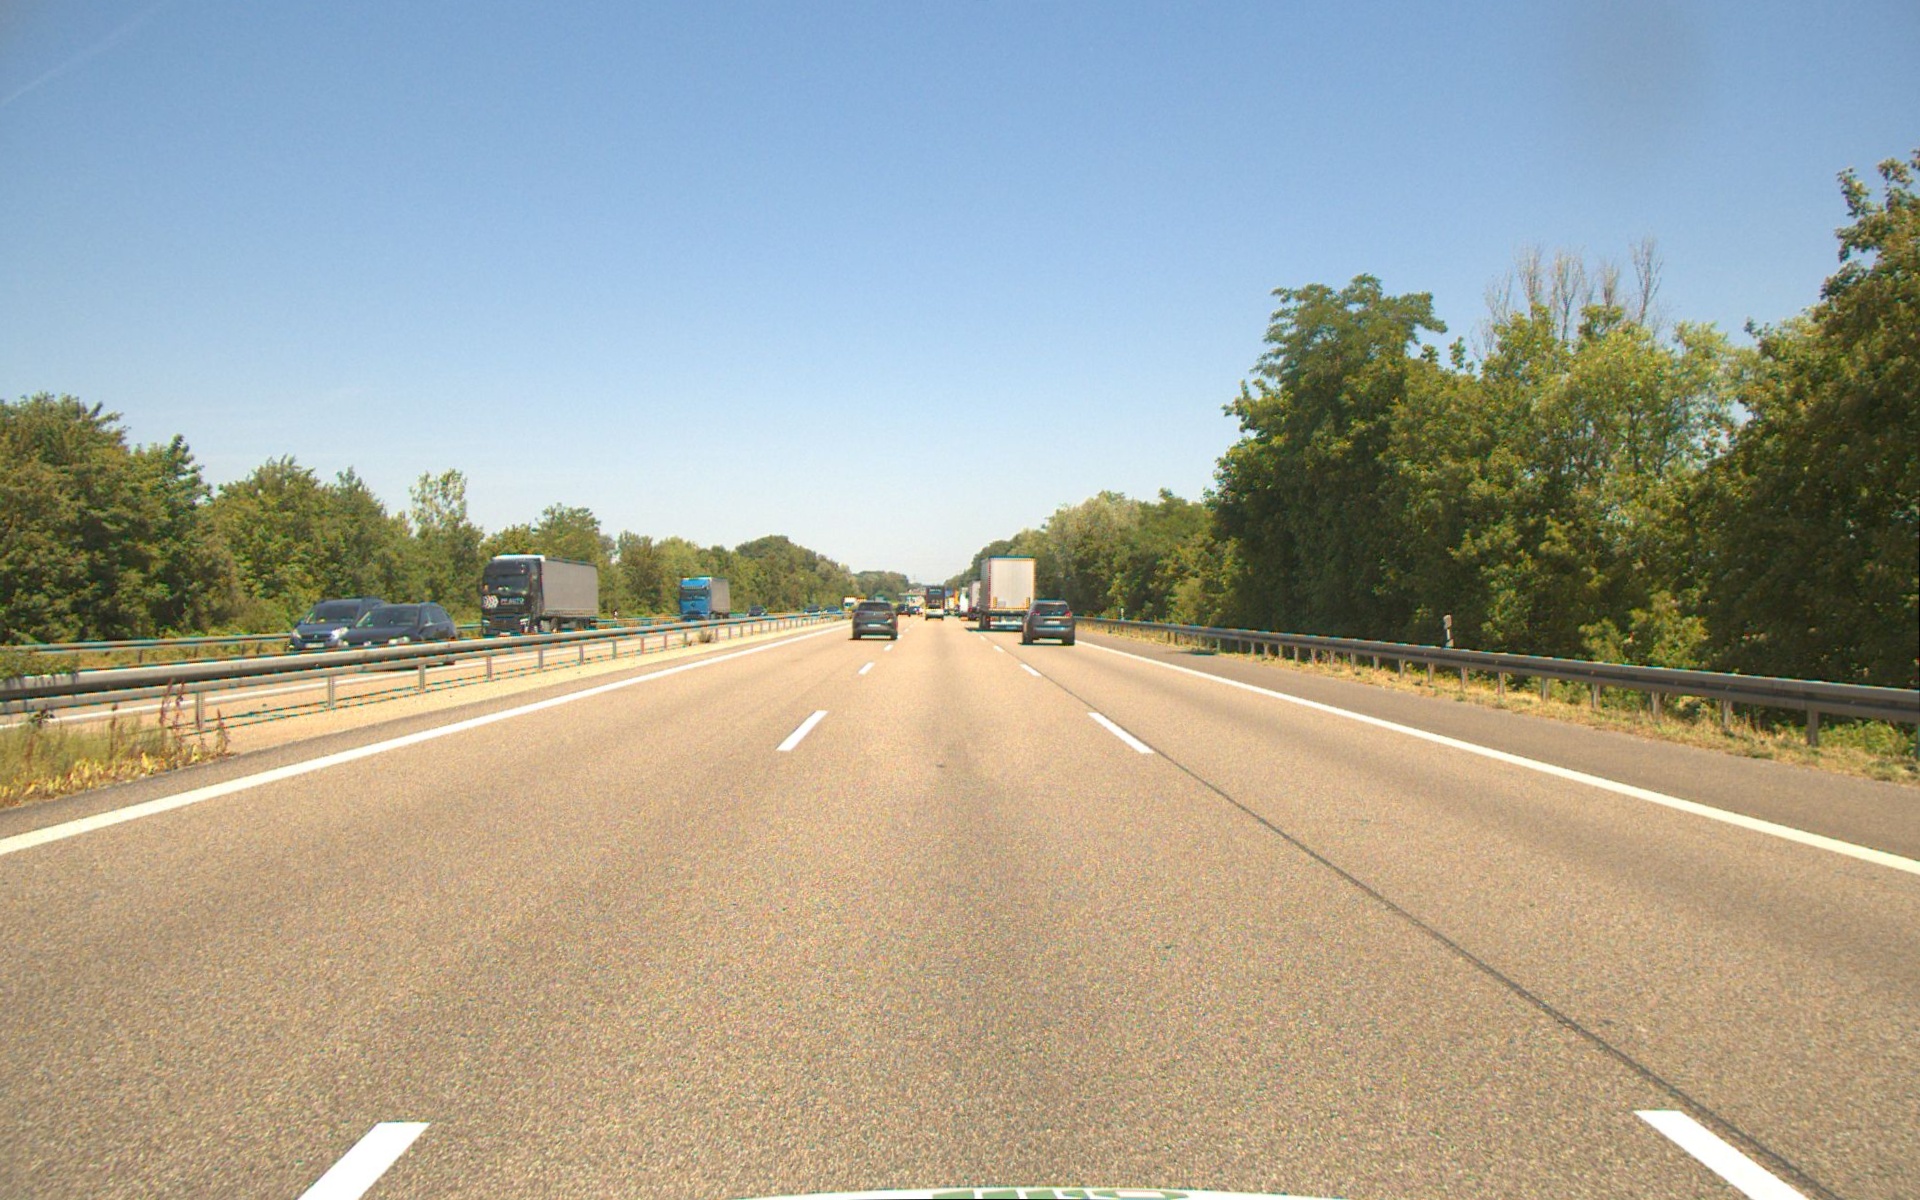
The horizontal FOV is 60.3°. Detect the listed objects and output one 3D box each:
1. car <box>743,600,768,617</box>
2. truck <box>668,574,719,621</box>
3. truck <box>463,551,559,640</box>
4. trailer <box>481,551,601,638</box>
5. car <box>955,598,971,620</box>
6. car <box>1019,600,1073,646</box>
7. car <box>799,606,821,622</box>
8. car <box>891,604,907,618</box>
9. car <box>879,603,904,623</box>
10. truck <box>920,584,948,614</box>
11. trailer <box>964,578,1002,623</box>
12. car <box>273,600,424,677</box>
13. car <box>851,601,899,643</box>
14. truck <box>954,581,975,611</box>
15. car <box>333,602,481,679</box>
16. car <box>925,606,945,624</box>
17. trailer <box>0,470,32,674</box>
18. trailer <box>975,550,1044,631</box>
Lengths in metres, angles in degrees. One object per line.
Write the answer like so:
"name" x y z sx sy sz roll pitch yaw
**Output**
"car" -19.311 0.797 156.098 1.812 1.488 4.312 3 0 -1
"truck" -23.351 -0.230 145.400 3.186 4.056 8.725 0 0 -1
"truck" -22.094 -0.239 81.726 3.133 4.201 6.192 0 0 -1
"trailer" -22.310 -0.320 89.037 3.281 4.259 13.537 -1 0 -2
"car" 0.332 1.031 195.052 1.869 2.467 4.285 1 0 -1
"car" 3.218 0.839 62.621 1.807 1.657 4.134 0 0 -1
"car" -15.226 1.411 168.371 1.813 1.488 5.167 -3 0 -2
"car" -7.798 1.396 211.067 1.869 1.557 4.285 1 1 -1
"car" -5.494 1.034 132.990 1.862 1.557 4.083 1 1 -1
"truck" -3.411 -0.179 220.054 3.592 3.791 7.108 1 0 0
"trailer" 2.072 0.004 155.432 3.059 3.995 9.933 1 0 -2
"car" -17.301 1.035 47.119 2.182 2.023 5.357 1 0 1
"car" -3.394 0.848 66.573 1.723 1.557 4.285 1 1 -1
"truck" 0.633 -0.530 219.061 2.735 3.791 7.108 1 0 0
"car" -12.617 0.882 38.071 1.716 1.509 4.726 -5 0 0
"car" -2.359 1.372 155.227 1.862 1.557 4.083 1 1 -1
"trailer" -21.343 -0.571 28.764 2.860 4.259 13.538 -2 0 -1
"trailer" 2.742 -0.454 95.608 3.365 4.254 13.630 1 0 -1
